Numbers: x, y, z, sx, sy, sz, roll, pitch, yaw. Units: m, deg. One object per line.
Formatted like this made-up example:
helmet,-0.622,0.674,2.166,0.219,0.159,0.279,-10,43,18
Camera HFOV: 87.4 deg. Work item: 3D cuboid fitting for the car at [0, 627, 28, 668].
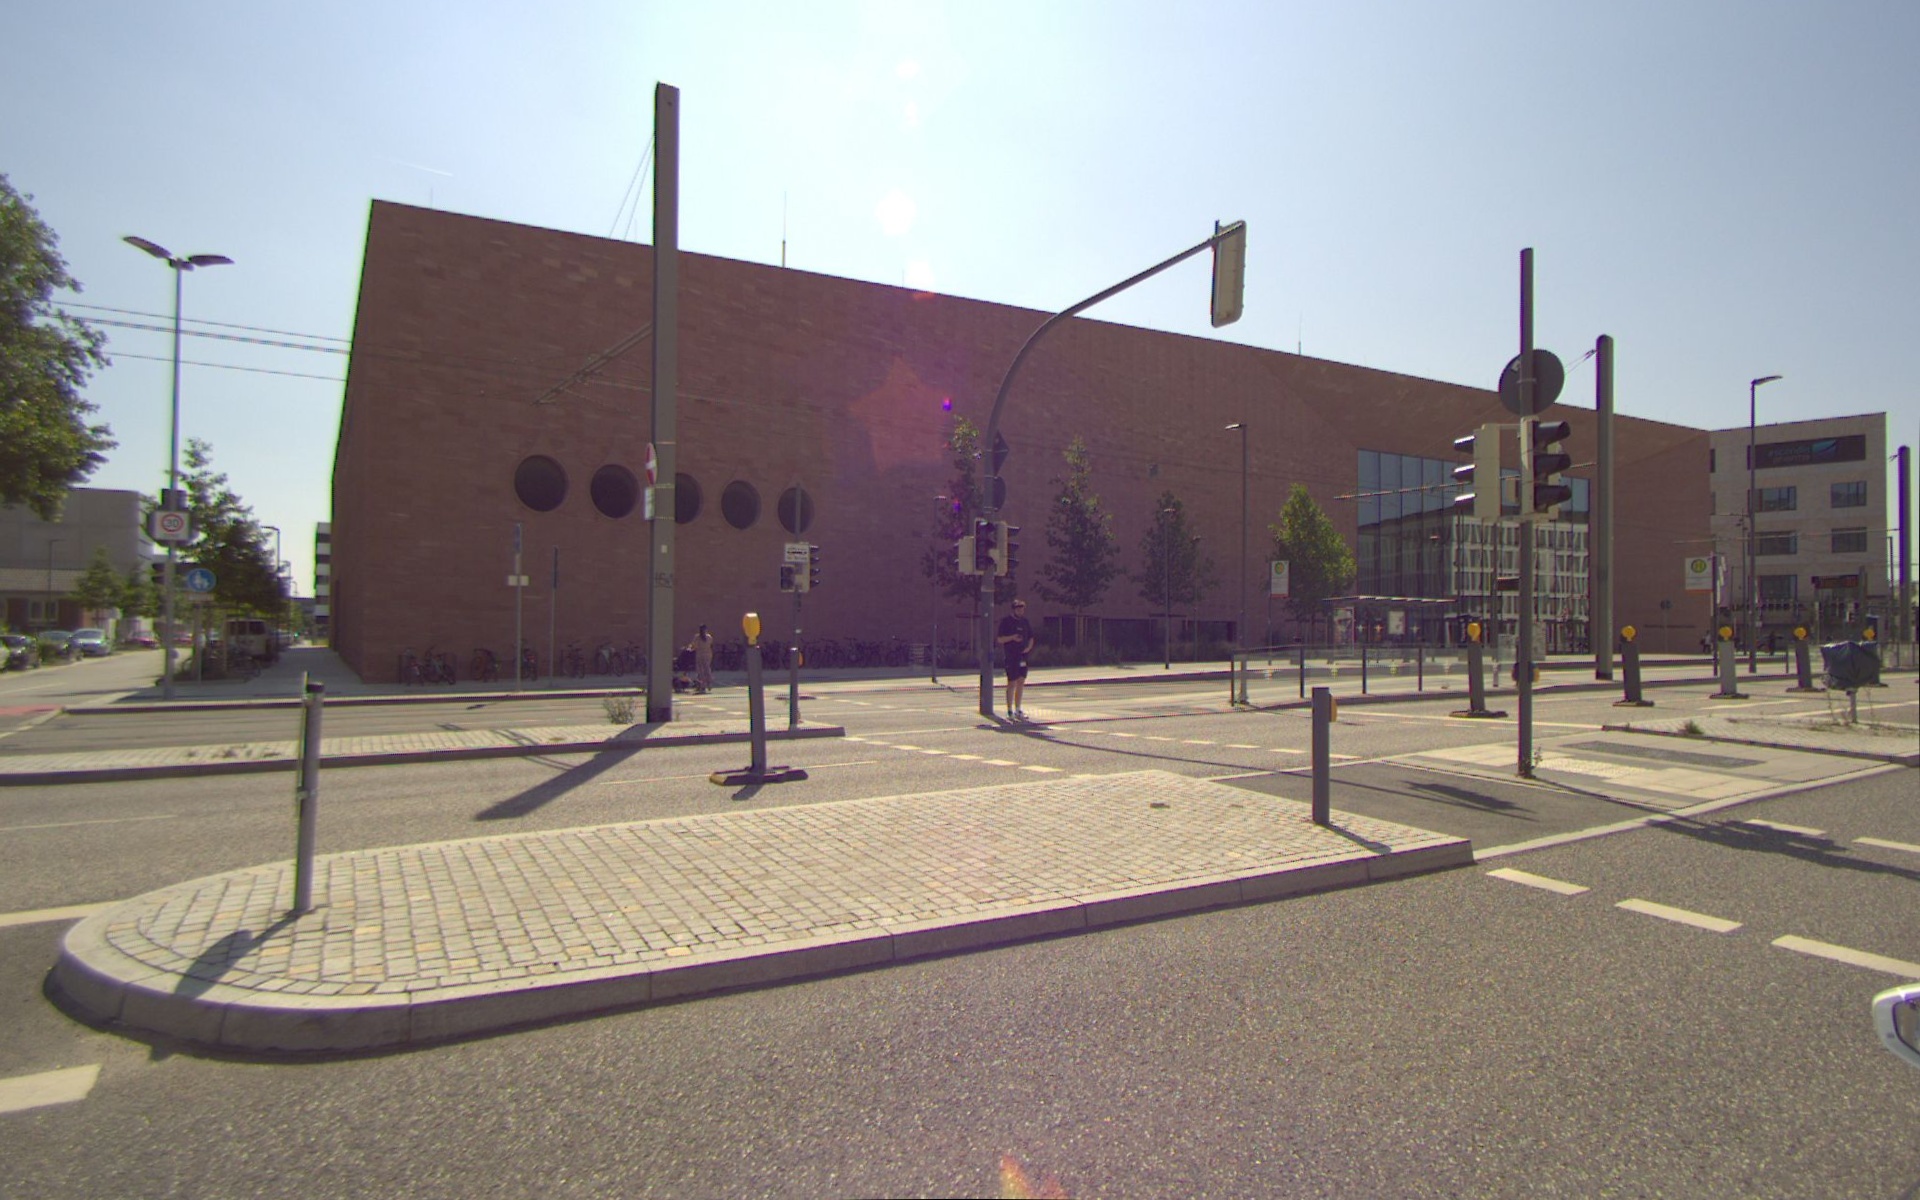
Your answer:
car,-36.311,1.745,36.886,1.975,1.421,3.972,3,-2,-27

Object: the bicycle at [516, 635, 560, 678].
bicycle,-12.942,1.723,30.779,0.536,1.228,2.031,1,-1,-44

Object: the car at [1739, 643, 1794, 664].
car,76.887,5.098,95.733,1.786,1.840,3.902,3,-2,-44

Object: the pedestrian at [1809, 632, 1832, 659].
pedestrian,61.689,3.232,72.008,0.967,1.915,0.888,1,-2,-13

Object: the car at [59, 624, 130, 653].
car,-47.227,2.096,54.928,1.975,1.421,3.972,3,-2,-27

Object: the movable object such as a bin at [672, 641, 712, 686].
movable object such as a bin,-6.414,1.509,24.012,0.784,1.045,0.710,1,-1,-27

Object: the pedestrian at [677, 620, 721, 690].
pedestrian,-6.046,1.259,23.264,0.783,1.583,0.926,1,-1,-27

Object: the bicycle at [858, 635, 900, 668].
bicycle,-3.264,2.054,40.279,0.535,1.228,2.032,1,-1,-43

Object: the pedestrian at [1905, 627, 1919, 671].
pedestrian,40.474,2.057,42.447,0.654,1.844,0.721,1,0,35

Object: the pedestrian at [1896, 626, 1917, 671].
pedestrian,39.746,2.029,42.166,0.542,1.844,0.598,1,0,36

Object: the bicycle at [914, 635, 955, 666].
bicycle,-1.096,2.114,42.383,0.535,1.228,2.032,1,0,-43

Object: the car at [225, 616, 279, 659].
car,-30.463,1.587,43.297,1.675,1.712,3.524,1,-1,-32

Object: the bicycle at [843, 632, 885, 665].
bicycle,-3.803,1.916,39.738,0.740,1.228,1.868,2,-1,-39

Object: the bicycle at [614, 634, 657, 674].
bicycle,-10.790,1.783,33.374,0.535,1.228,2.032,1,-1,-43

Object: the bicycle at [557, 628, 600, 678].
bicycle,-12.043,1.645,31.676,0.535,1.472,2.032,1,-1,-43

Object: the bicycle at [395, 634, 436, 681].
bicycle,-15.540,1.625,28.668,0.535,1.228,2.032,1,0,-43

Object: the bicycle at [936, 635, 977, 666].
bicycle,-0.165,2.155,42.950,0.535,1.228,2.032,1,-1,-43

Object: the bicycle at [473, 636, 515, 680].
bicycle,-13.938,1.718,29.992,0.535,1.228,2.032,1,-1,-43

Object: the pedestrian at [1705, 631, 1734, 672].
pedestrian,34.951,2.362,46.247,0.816,1.844,0.806,2,0,-32

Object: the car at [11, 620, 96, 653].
car,-43.647,1.740,48.472,1.975,1.421,3.972,3,-2,-27

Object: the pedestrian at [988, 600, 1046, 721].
pedestrian,0.892,0.930,15.879,0.653,1.858,0.650,1,0,-28

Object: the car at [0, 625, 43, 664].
car,-39.036,1.763,40.516,1.975,1.421,3.972,3,-2,-27

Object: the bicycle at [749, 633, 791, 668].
bicycle,-6.997,1.847,36.918,0.535,1.228,2.032,1,-1,-43

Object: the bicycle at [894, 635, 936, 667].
bicycle,-1.864,2.078,41.446,0.535,1.228,2.032,1,-1,-43

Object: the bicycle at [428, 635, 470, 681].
bicycle,-14.738,1.641,28.951,0.535,1.228,2.032,1,-1,-43

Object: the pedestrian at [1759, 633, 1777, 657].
pedestrian,55.083,3.054,68.445,0.881,1.592,0.707,2,-2,-33

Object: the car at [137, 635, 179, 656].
car,-60.884,3.475,76.309,1.979,1.421,3.964,3,-2,-33

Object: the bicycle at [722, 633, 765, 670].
bicycle,-7.764,1.821,35.978,0.535,1.228,2.032,1,-1,-43

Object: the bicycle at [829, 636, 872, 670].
bicycle,-4.212,2.019,38.451,0.535,1.228,2.032,1,-1,-43
